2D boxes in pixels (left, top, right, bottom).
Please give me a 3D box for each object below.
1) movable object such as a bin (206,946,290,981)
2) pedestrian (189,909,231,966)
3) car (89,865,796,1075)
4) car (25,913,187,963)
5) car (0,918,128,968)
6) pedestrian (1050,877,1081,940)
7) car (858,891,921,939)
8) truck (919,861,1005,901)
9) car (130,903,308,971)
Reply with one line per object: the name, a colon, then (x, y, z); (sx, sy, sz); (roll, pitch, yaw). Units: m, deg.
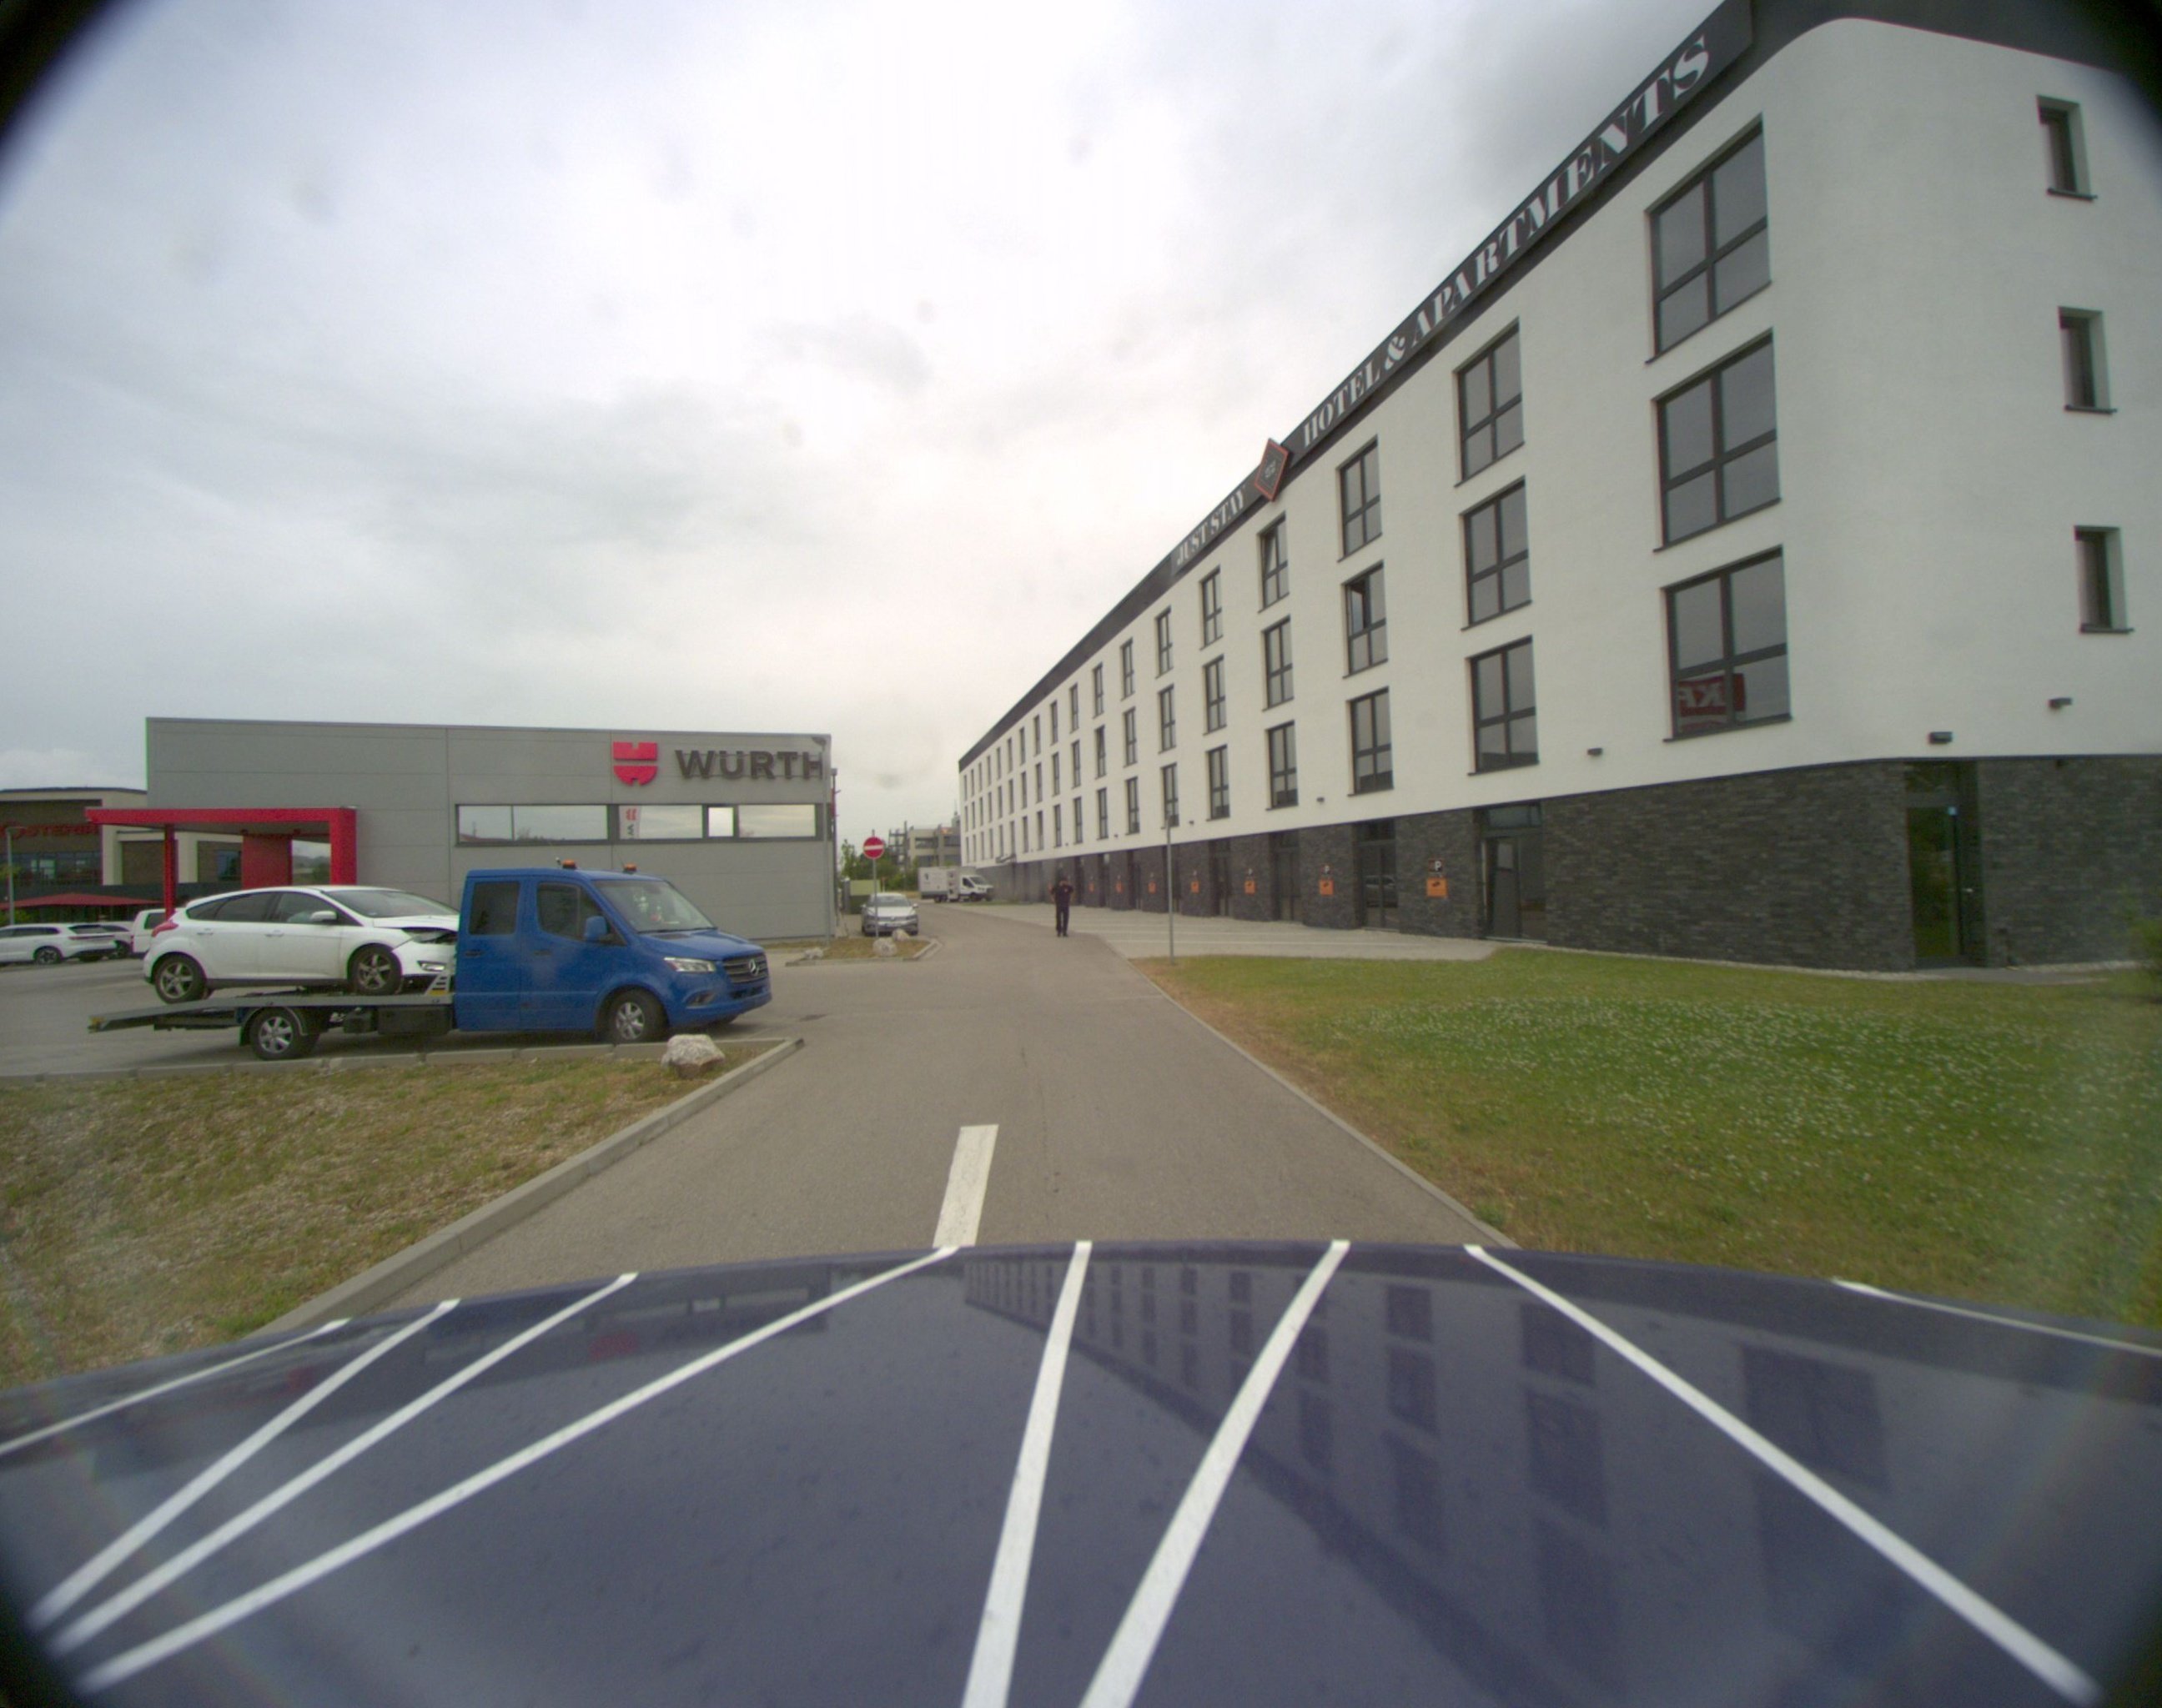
movable object such as a bin: (-22.293, 2.926, 20.372); (0.804, 0.711, 1.583); (-2, -1, -16)
pedestrian: (-28.853, 2.761, 25.180); (0.659, 1.796, 0.649); (-1, -1, -15)
car: (-8.108, 1.438, 10.083); (7.848, 2.308, 2.202); (-2, -1, 5)
car: (-43.217, 3.694, 33.806); (4.002, 1.848, 1.998); (-2, -1, -16)
car: (-42.681, 3.665, 30.897); (4.744, 1.738, 1.756); (-2, -1, -15)
pedestrian: (-0.457, 1.589, 22.516); (0.710, 1.811, 0.812); (-2, -1, -12)
car: (-6.929, 2.158, 27.892); (1.981, 1.482, 4.767); (0, -2, -11)
truck: (-9.761, 2.201, 61.932); (7.051, 2.998, 2.441); (-3, 0, 33)
car: (-29.644, 2.802, 26.257); (3.678, 1.967, 1.674); (-2, 0, -17)
